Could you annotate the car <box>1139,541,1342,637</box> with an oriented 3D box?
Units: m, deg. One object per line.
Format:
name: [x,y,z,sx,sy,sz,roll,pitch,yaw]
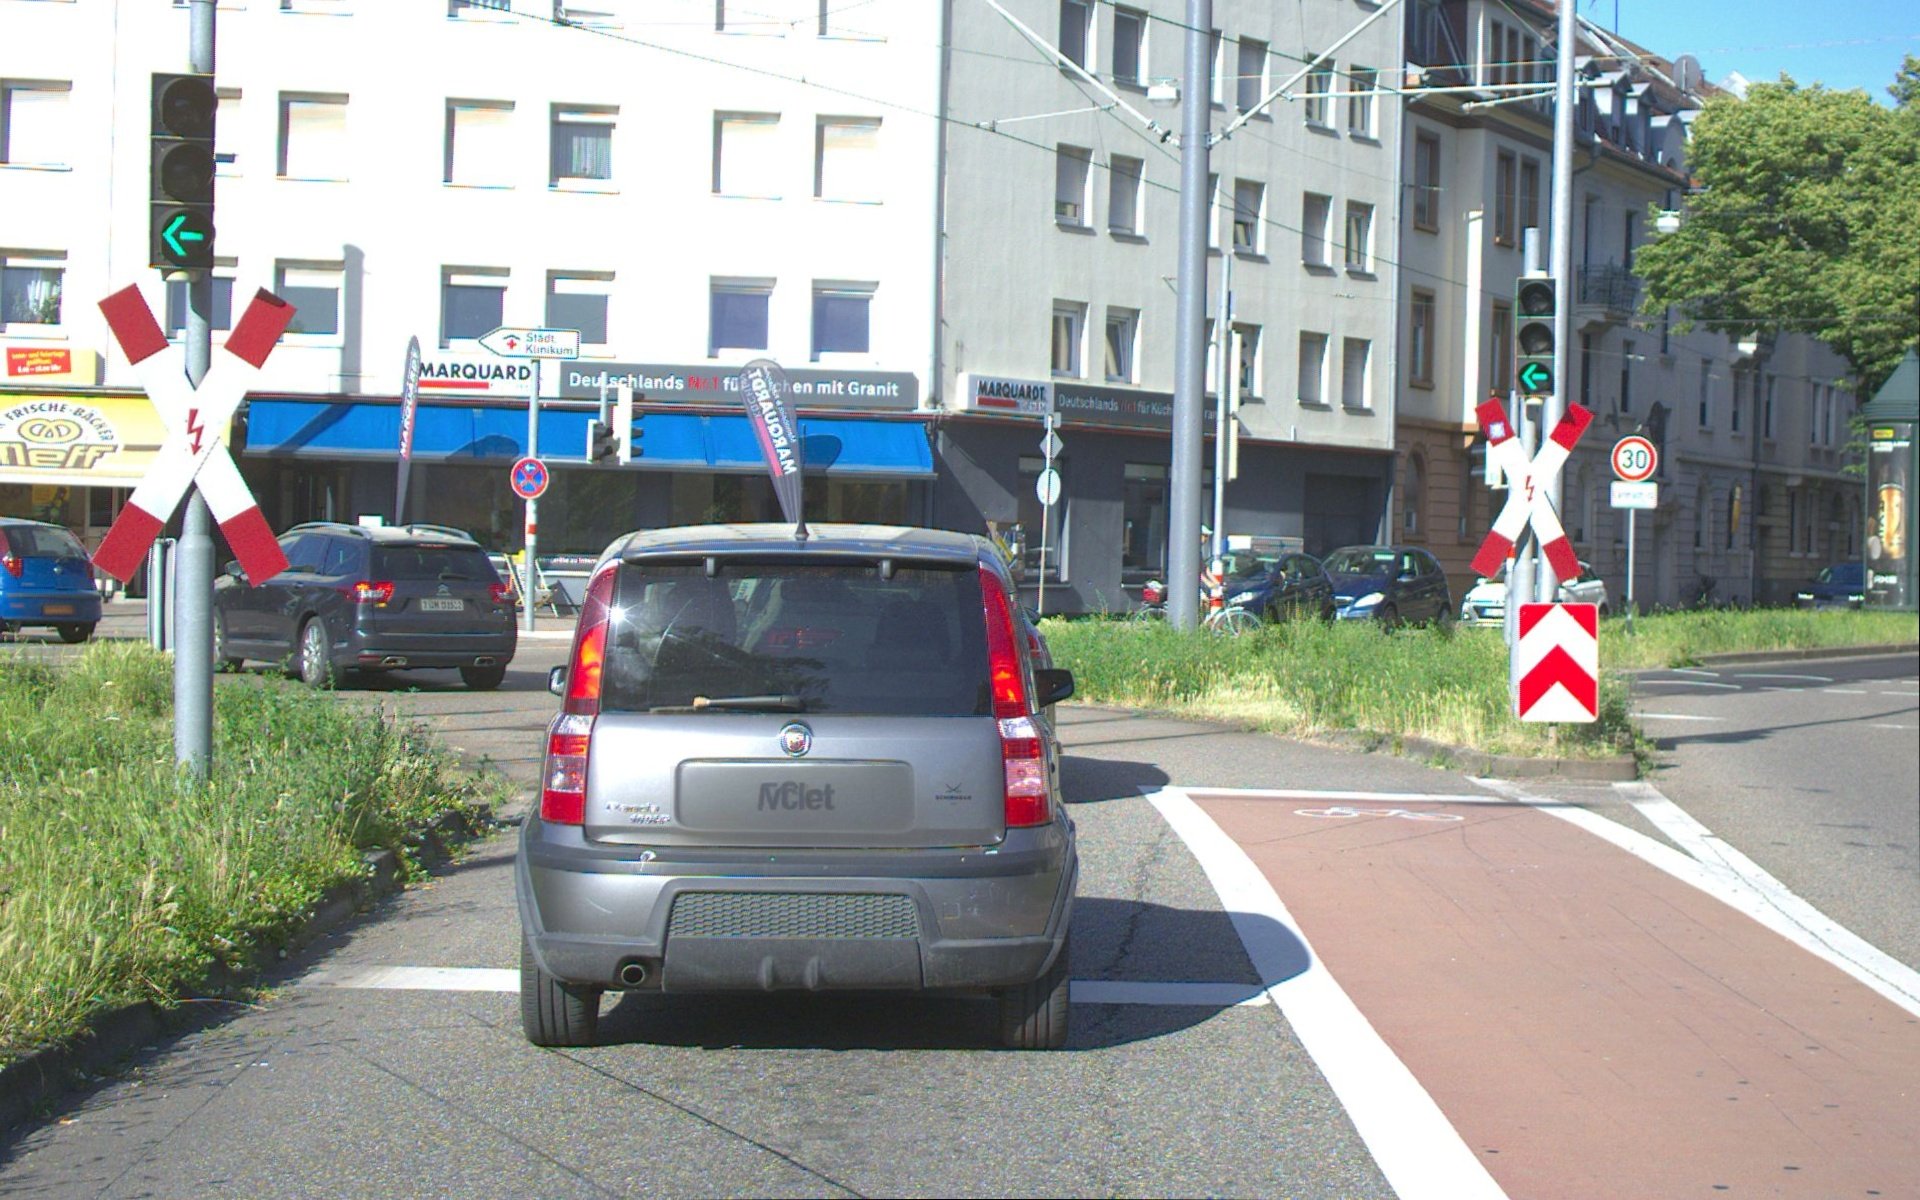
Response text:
car: [4.395,-0.174,53.438,1.793,1.391,3.719,2,1,28]

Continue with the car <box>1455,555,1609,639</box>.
car: [10.815,-0.060,64.895,1.793,1.478,3.526,2,1,28]

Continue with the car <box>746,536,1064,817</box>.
car: [-0.343,0.369,19.770,1.621,1.424,3.689,2,1,-2]

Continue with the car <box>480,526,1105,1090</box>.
car: [-0.609,0.543,10.981,1.659,1.505,3.252,2,1,-6]

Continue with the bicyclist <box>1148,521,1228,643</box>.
bicyclist: [2.973,-0.238,44.878,0.823,1.553,0.561,2,1,35]

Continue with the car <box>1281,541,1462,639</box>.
car: [7.051,-0.168,58.656,1.793,1.560,3.760,2,1,28]

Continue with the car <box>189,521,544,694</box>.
car: [-5.664,0.037,32.416,1.760,1.481,4.293,1,1,-32]

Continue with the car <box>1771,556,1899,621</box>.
car: [21.237,-0.283,83.382,1.997,1.468,3.993,2,1,29]

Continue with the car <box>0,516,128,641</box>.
car: [-11.822,-0.297,41.133,3.391,1.433,1.648,2,1,30]

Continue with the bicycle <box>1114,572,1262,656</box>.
bicycle: [2.971,0.171,44.880,1.855,1.029,0.588,2,1,35]
